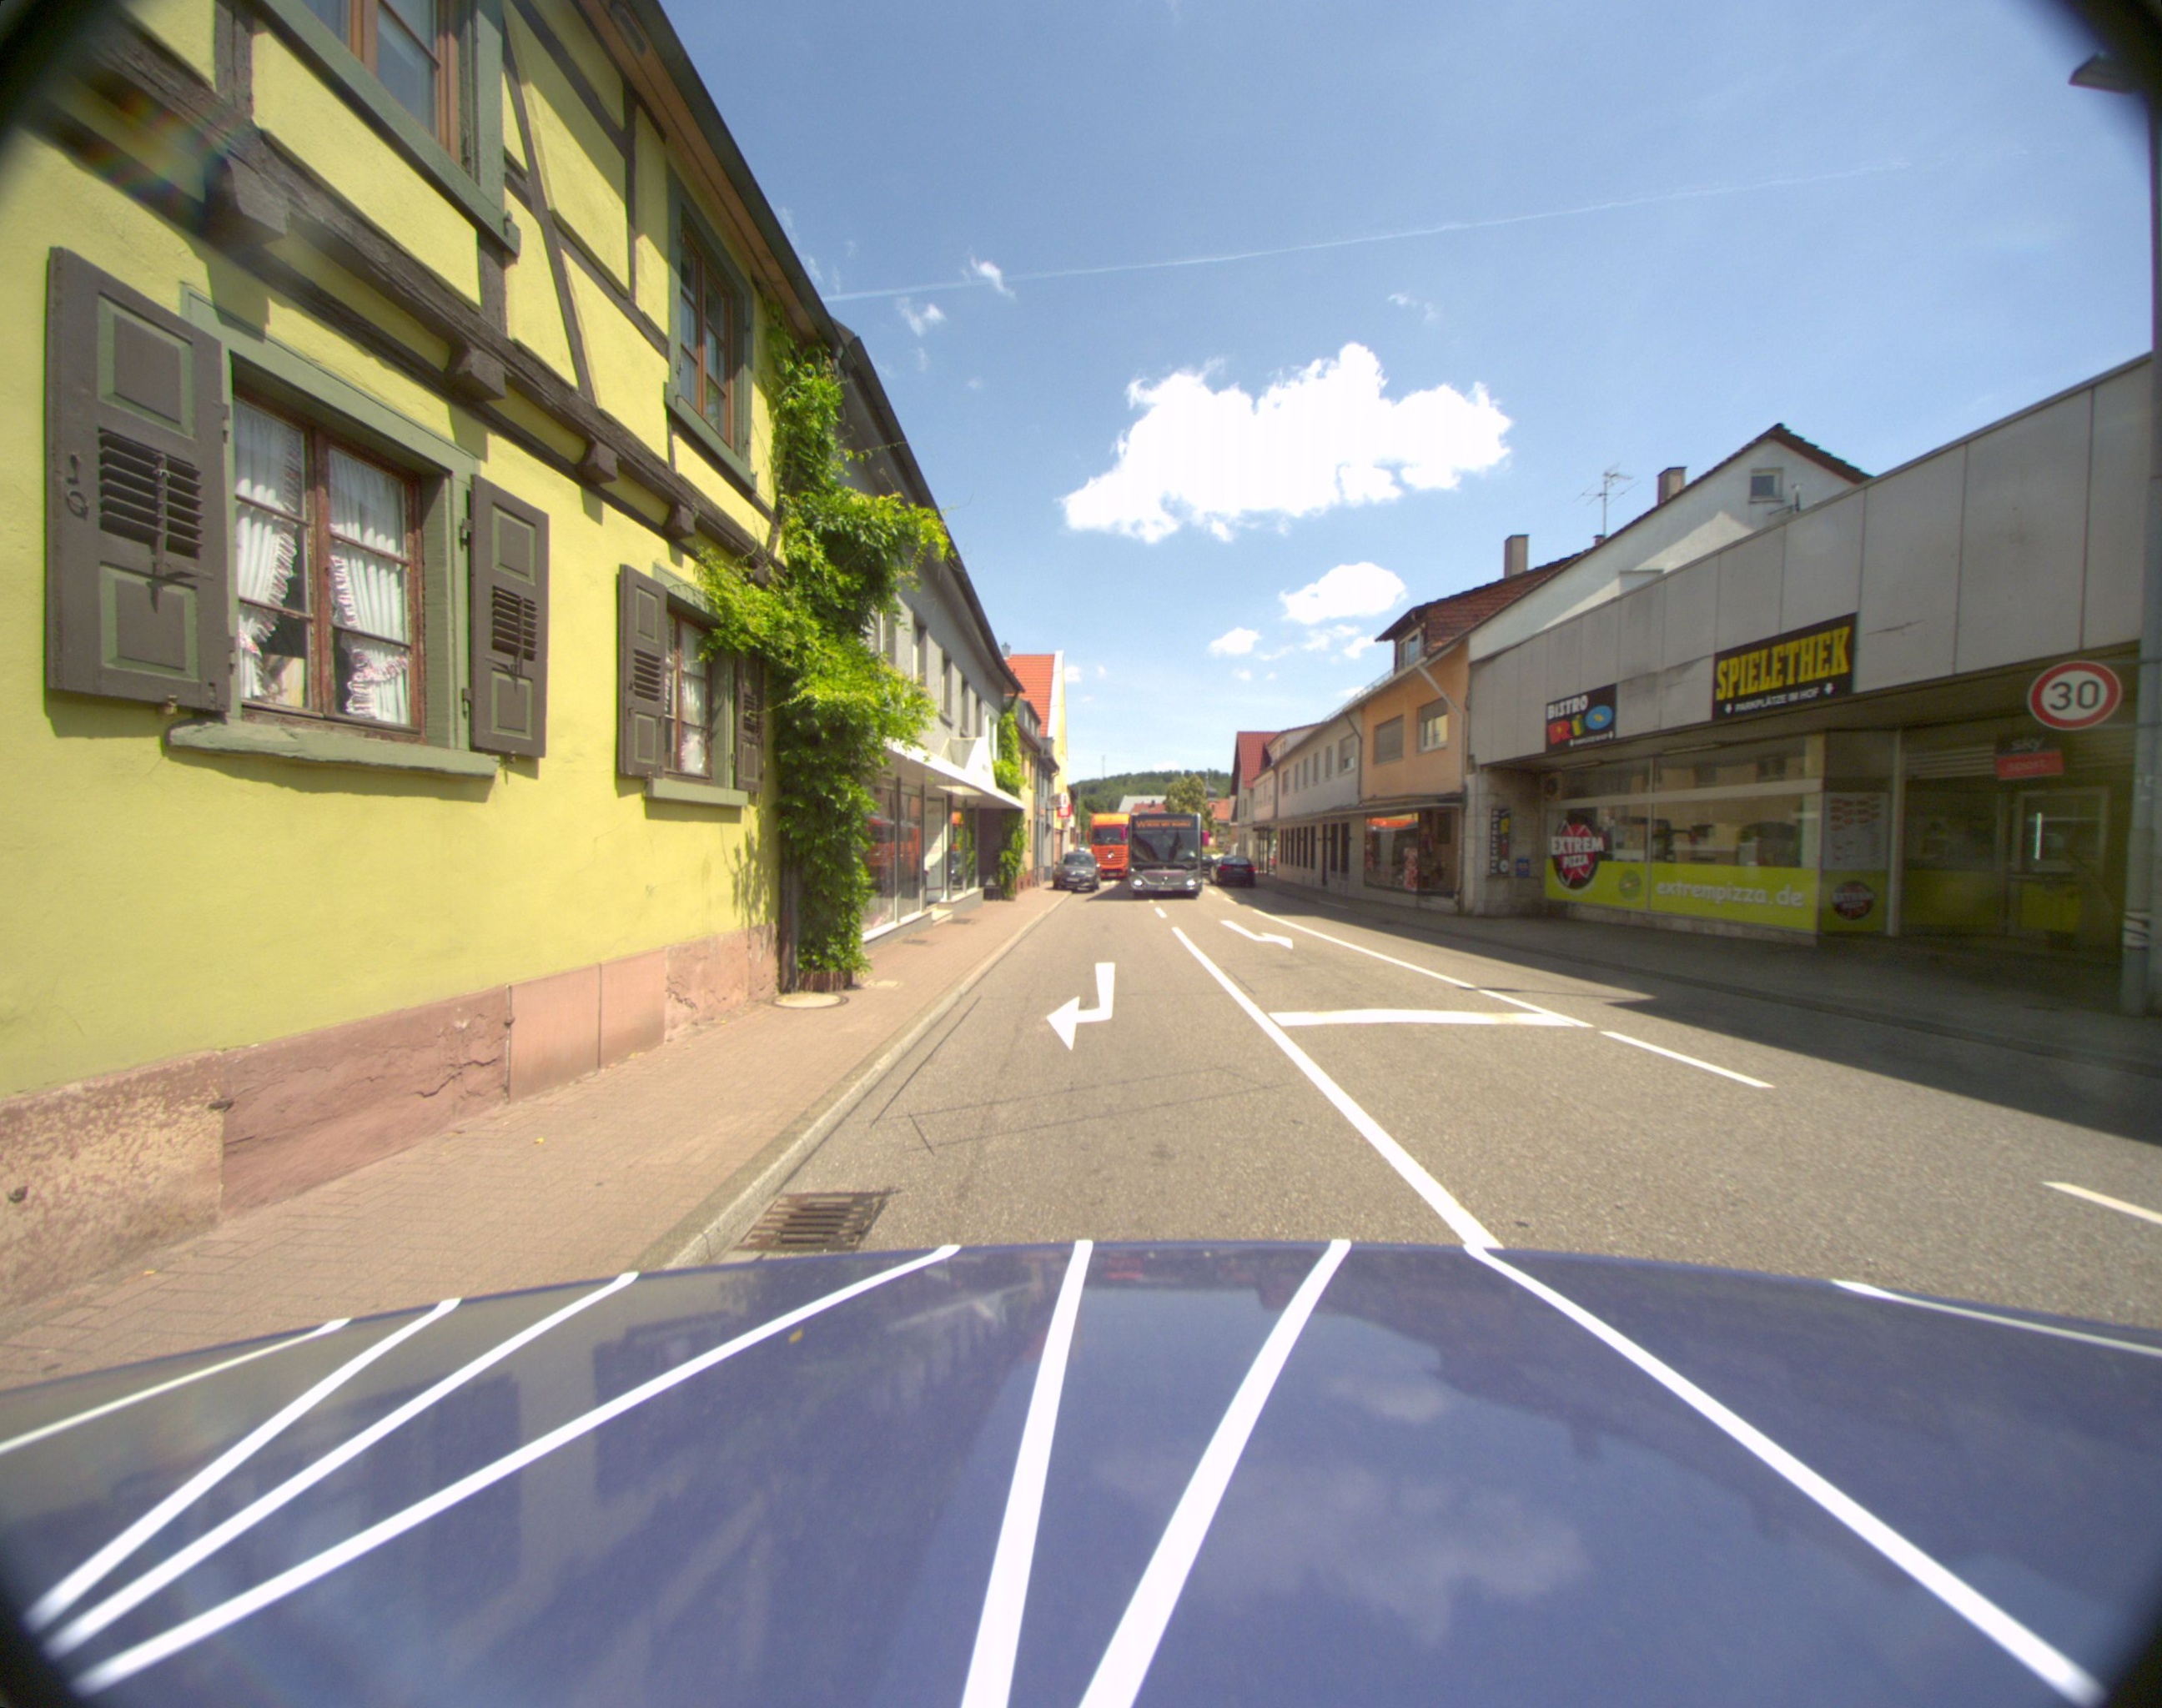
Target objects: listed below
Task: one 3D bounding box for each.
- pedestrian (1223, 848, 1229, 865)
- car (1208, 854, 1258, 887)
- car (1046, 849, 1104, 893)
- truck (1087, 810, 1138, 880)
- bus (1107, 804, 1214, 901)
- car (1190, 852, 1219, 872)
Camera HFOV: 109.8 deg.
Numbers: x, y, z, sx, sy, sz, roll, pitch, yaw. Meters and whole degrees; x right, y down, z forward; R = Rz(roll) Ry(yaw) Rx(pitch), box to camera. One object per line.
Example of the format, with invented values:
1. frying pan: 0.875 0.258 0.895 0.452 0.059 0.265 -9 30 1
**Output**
1. pedestrian: 15.137 0.291 79.256 0.471 1.754 0.478 0 2 -17
2. car: 7.731 0.787 38.996 1.801 1.478 4.797 3 1 4
3. car: -0.198 0.690 33.199 1.997 1.699 4.102 3 1 6
4. truck: 2.199 -0.504 48.731 2.614 3.922 9.996 -2 0 5
5. bus: 4.223 -0.048 34.430 2.856 3.186 19.050 -1 0 12
6. car: 9.256 0.590 57.118 1.721 1.414 3.821 2 0 3
